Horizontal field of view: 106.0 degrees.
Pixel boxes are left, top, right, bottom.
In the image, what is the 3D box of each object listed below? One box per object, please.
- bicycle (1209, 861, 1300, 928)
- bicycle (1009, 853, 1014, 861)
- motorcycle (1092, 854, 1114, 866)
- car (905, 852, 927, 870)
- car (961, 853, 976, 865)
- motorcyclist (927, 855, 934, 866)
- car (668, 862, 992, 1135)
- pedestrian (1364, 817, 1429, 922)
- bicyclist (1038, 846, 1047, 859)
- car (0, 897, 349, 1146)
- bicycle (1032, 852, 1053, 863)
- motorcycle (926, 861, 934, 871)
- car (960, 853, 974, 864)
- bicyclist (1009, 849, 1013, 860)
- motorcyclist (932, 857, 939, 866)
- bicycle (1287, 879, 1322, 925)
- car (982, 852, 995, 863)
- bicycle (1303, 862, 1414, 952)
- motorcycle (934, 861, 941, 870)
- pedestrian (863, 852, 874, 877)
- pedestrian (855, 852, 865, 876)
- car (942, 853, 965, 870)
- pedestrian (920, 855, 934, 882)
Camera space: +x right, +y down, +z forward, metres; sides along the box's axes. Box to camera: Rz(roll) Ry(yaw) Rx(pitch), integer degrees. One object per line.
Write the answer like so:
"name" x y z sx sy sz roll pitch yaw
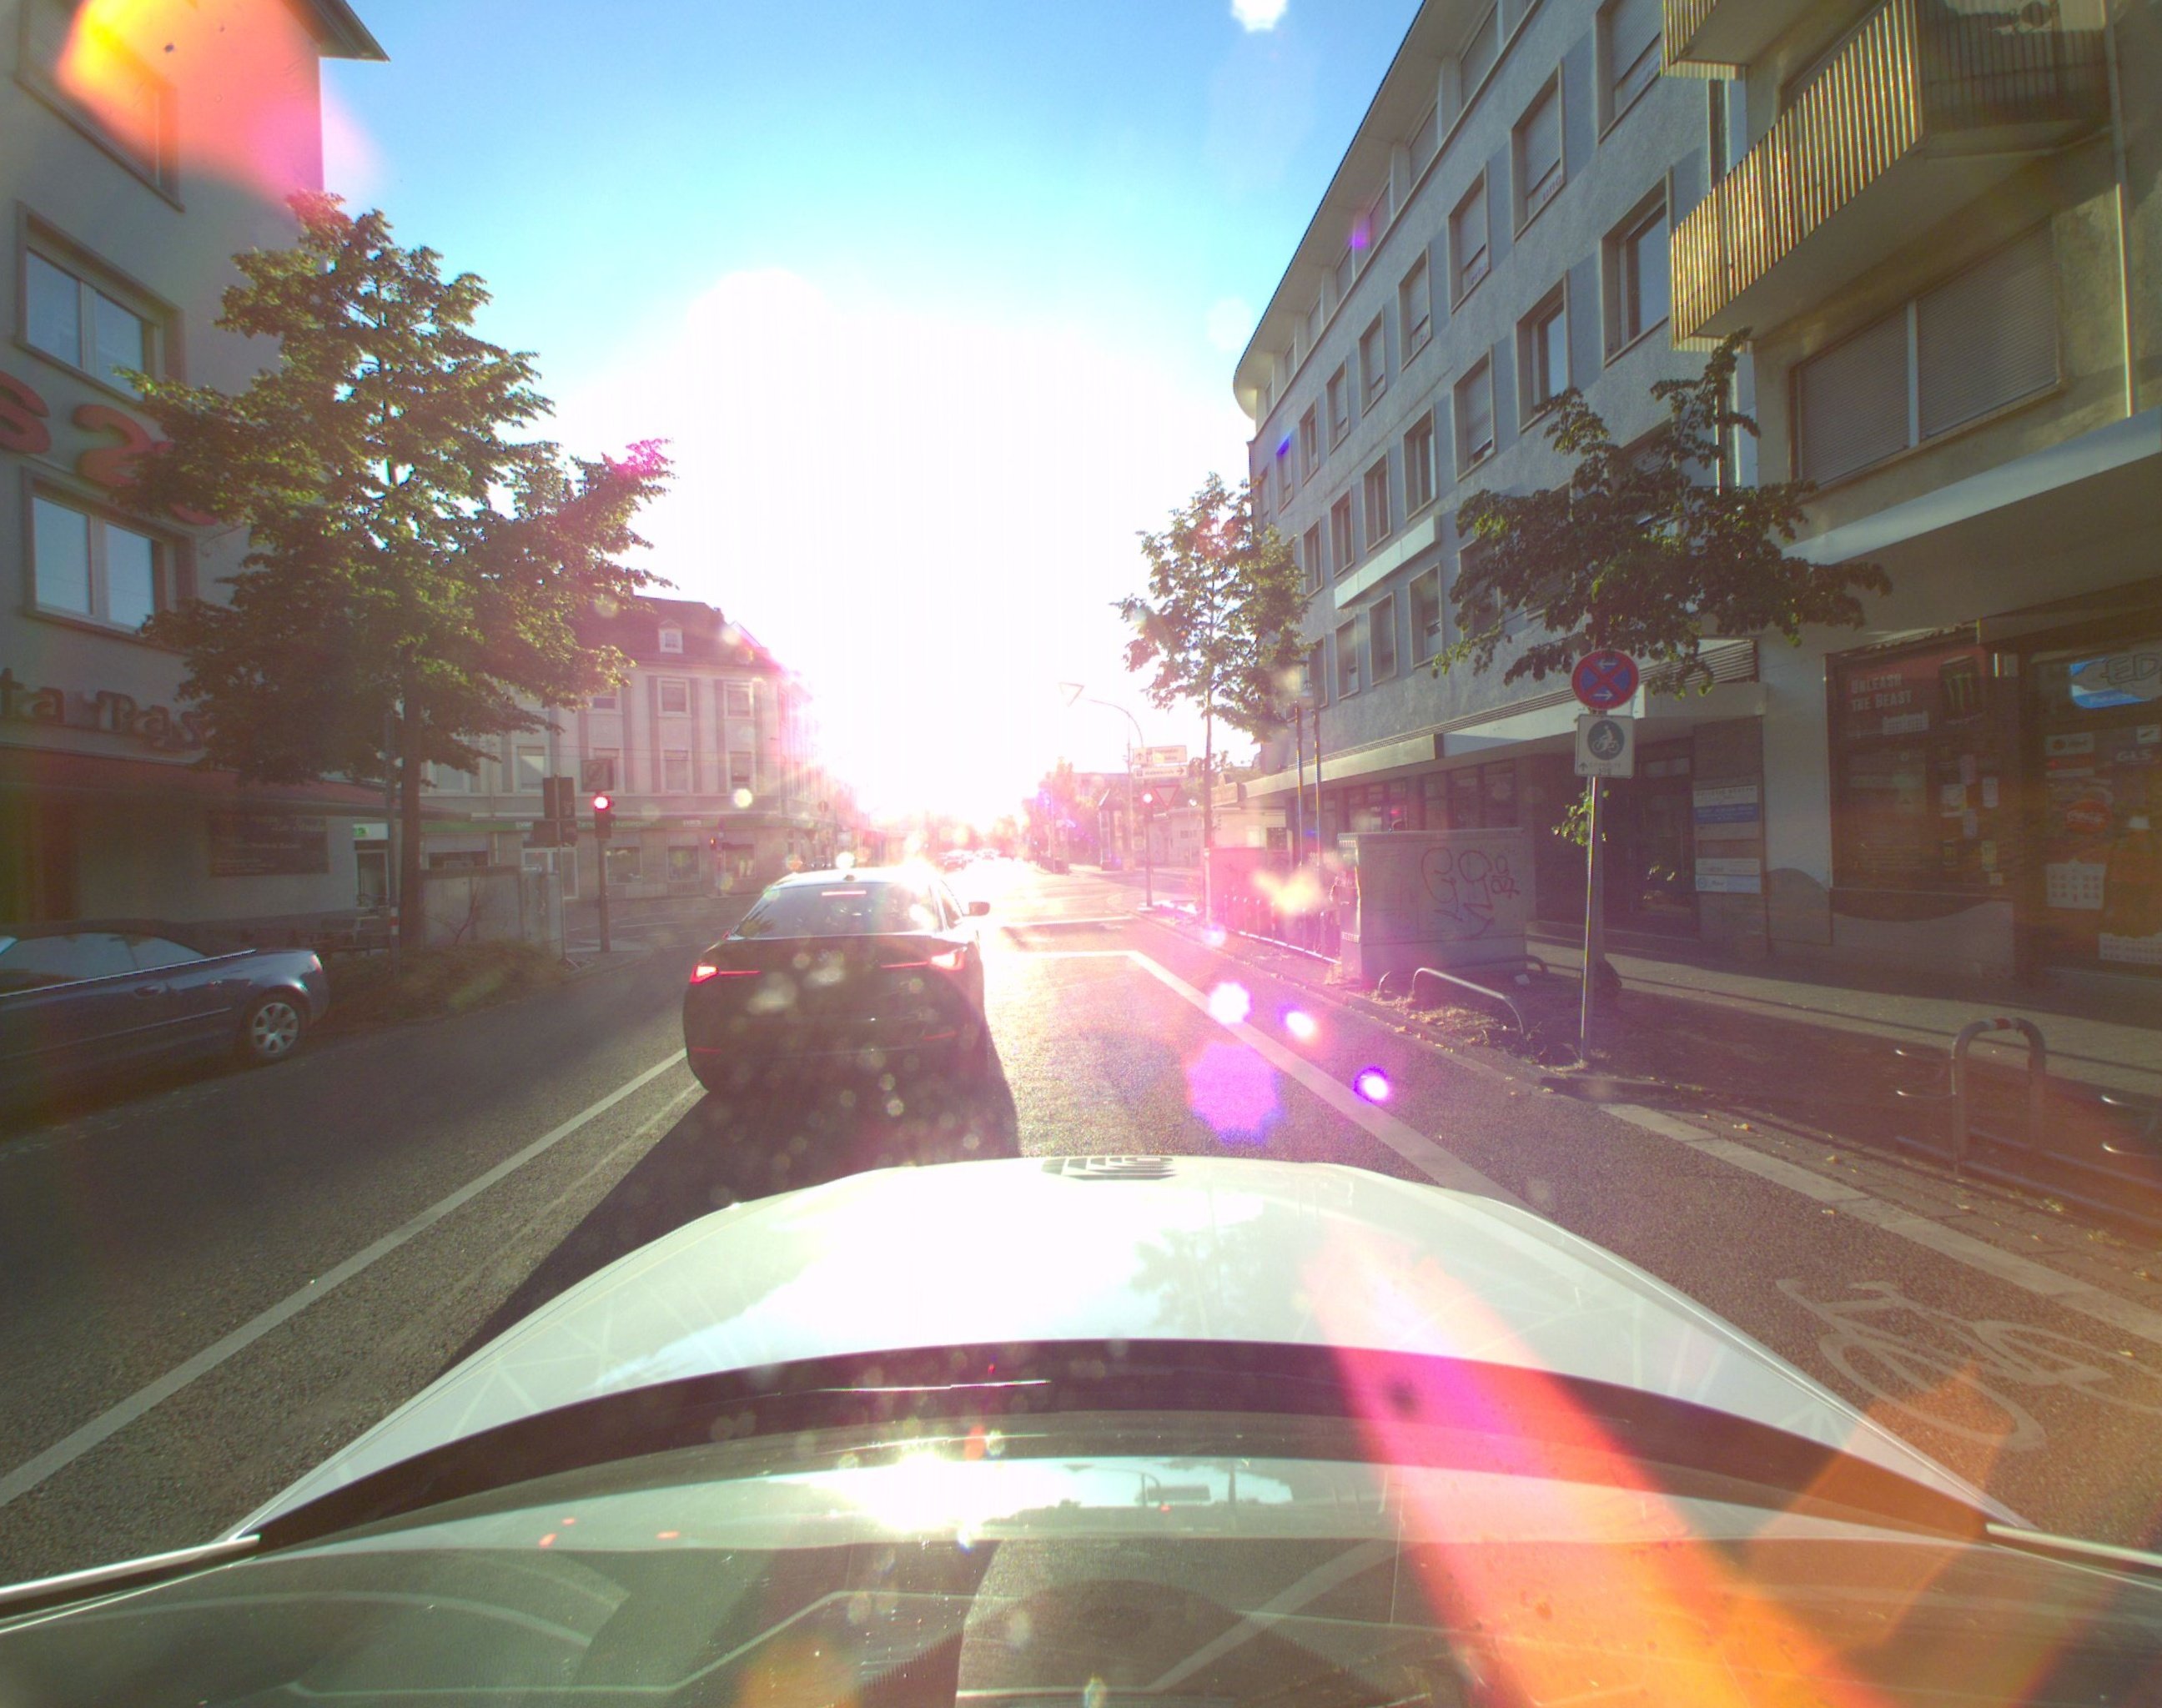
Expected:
"bicycle" 3.232 0.745 15.217 1.610 1.171 0.318 -2 0 -5
"bicycle" -9.925 0.471 115.760 0.549 1.159 2.138 -1 -1 -7
"motorcycle" 1.833 0.471 67.972 1.673 0.939 0.851 -2 0 -18
"car" -17.743 0.701 87.691 1.816 1.788 3.992 -2 0 -6
"car" -15.838 0.667 114.603 1.816 1.519 3.992 -2 0 -6
"motorcyclist" -14.469 0.622 78.211 0.574 0.995 0.701 0 0 -6
"car" -1.646 0.810 6.665 1.735 1.428 4.213 -1 0 -7
"pedestrian" 5.790 0.274 14.960 0.834 1.841 0.677 -2 0 -6
"bicyclist" -4.260 -0.159 89.272 0.879 1.505 0.613 0 0 5
"car" -7.665 1.171 5.565 1.721 1.415 4.270 -4 0 -7
"bicycle" -4.251 0.428 89.273 2.202 1.202 0.621 0 0 4
"motorcycle" -14.491 1.154 78.413 0.574 0.915 2.196 0 0 -6
"car" -17.323 0.670 123.802 1.816 1.519 3.992 -2 0 -6
"bicyclist" -9.938 0.079 115.812 0.549 1.481 0.721 -1 -1 -8
"motorcyclist" -14.692 0.787 82.365 0.574 0.915 2.196 0 0 -6
"bicycle" 4.196 0.882 15.328 0.249 0.796 1.113 0 0 -5
"car" -14.130 0.499 124.442 1.816 1.519 3.992 -2 0 -6
"bicycle" 3.893 0.727 11.437 1.438 1.220 0.383 0 0 -5
"motorcycle" -14.567 1.154 82.663 0.574 0.915 2.196 0 0 -6
"pedestrian" -16.344 0.780 62.586 0.675 1.876 0.616 0 0 -6
"pedestrian" -17.095 0.786 63.012 0.642 1.876 0.630 0 0 -7
"car" -11.813 0.674 75.421 1.816 1.519 3.992 -2 0 -6
"pedestrian" -8.681 0.818 45.806 0.733 1.529 0.470 0 0 -13
